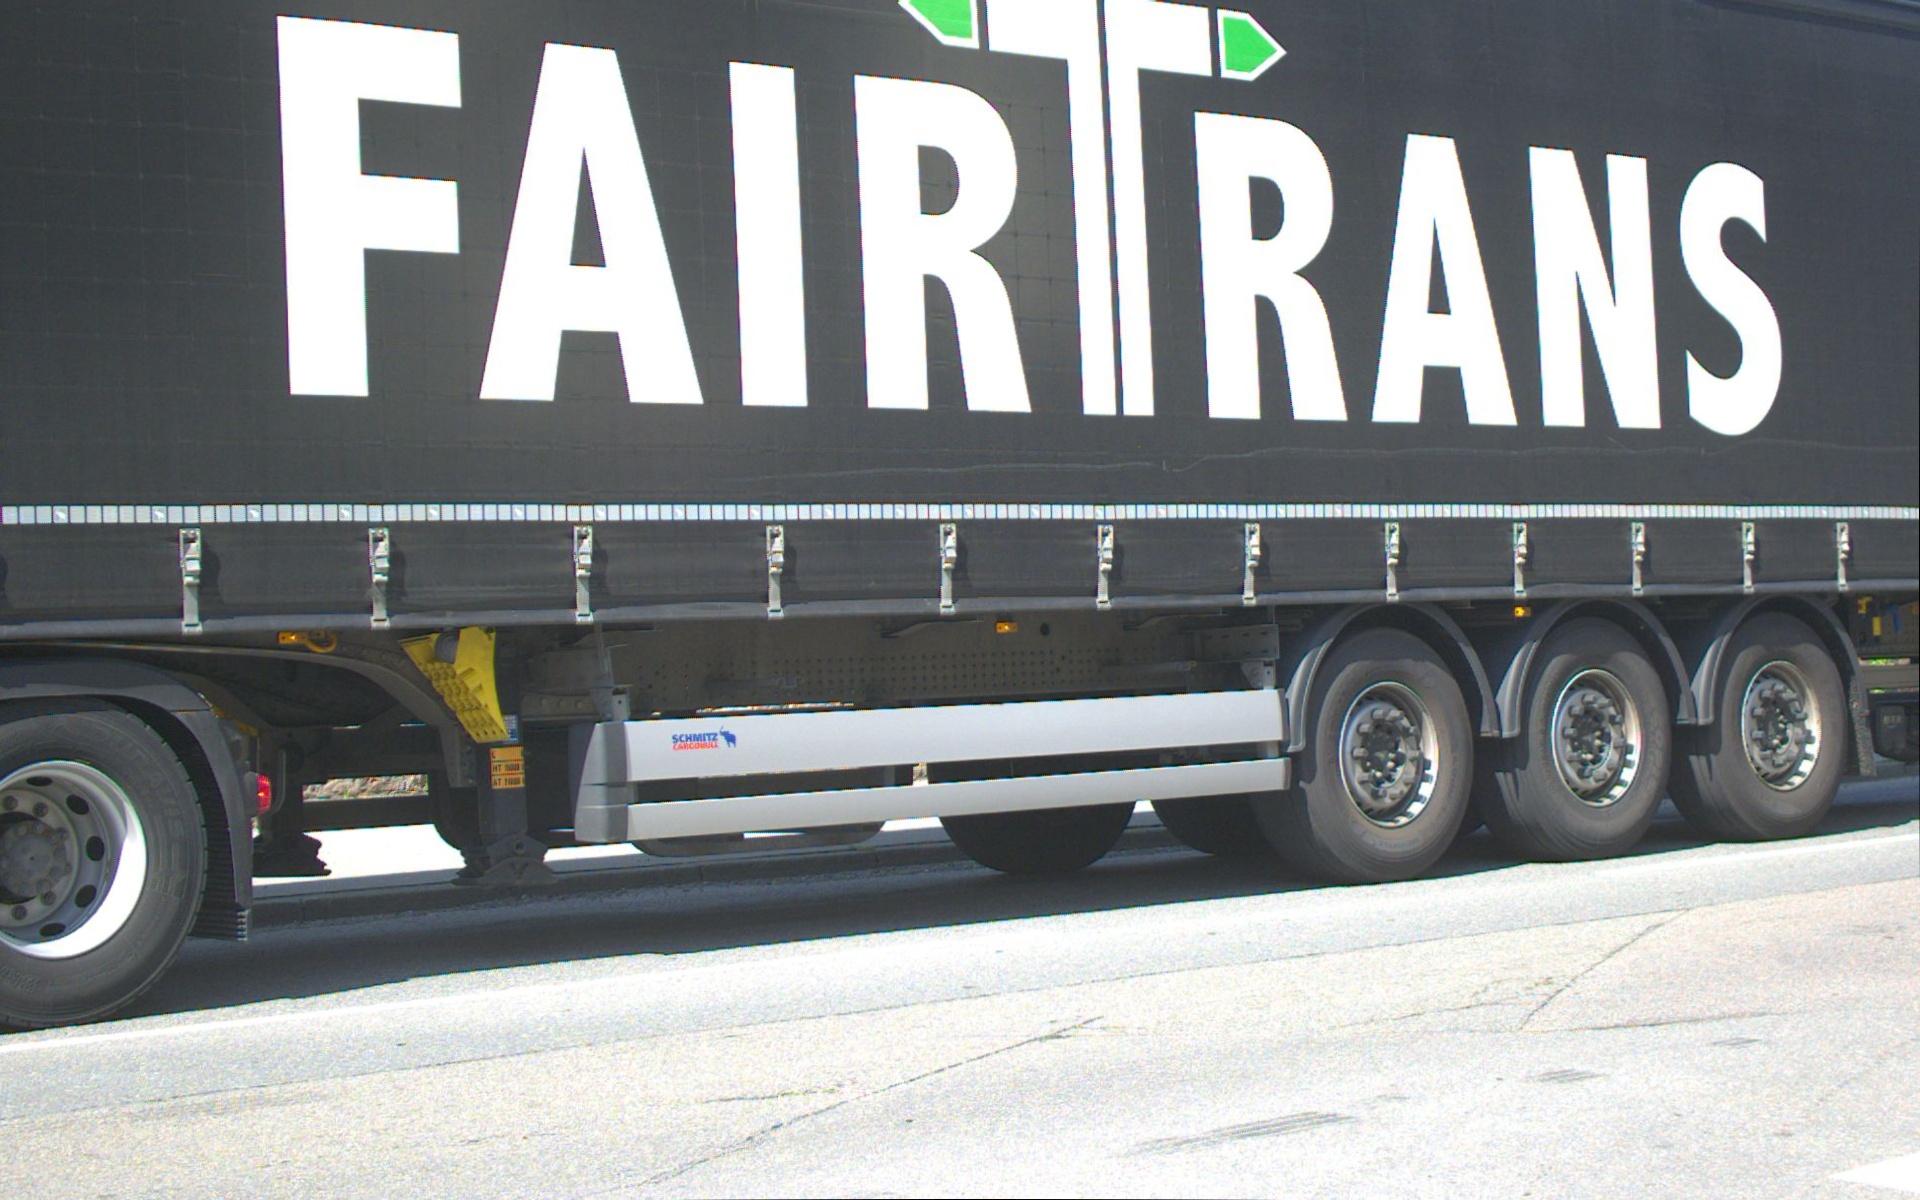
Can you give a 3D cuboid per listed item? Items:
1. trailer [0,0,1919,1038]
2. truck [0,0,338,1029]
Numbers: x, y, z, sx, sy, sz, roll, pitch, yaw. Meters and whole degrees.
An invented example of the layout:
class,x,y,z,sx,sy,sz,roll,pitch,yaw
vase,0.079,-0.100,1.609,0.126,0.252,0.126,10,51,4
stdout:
class,x,y,z,sx,sy,sz,roll,pitch,yaw
trailer,-0.026,-0.856,14.183,13.732,4.090,2.841,-2,-1,-40
truck,-5.176,-0.695,9.852,5.915,4.057,2.838,-2,-1,-40
